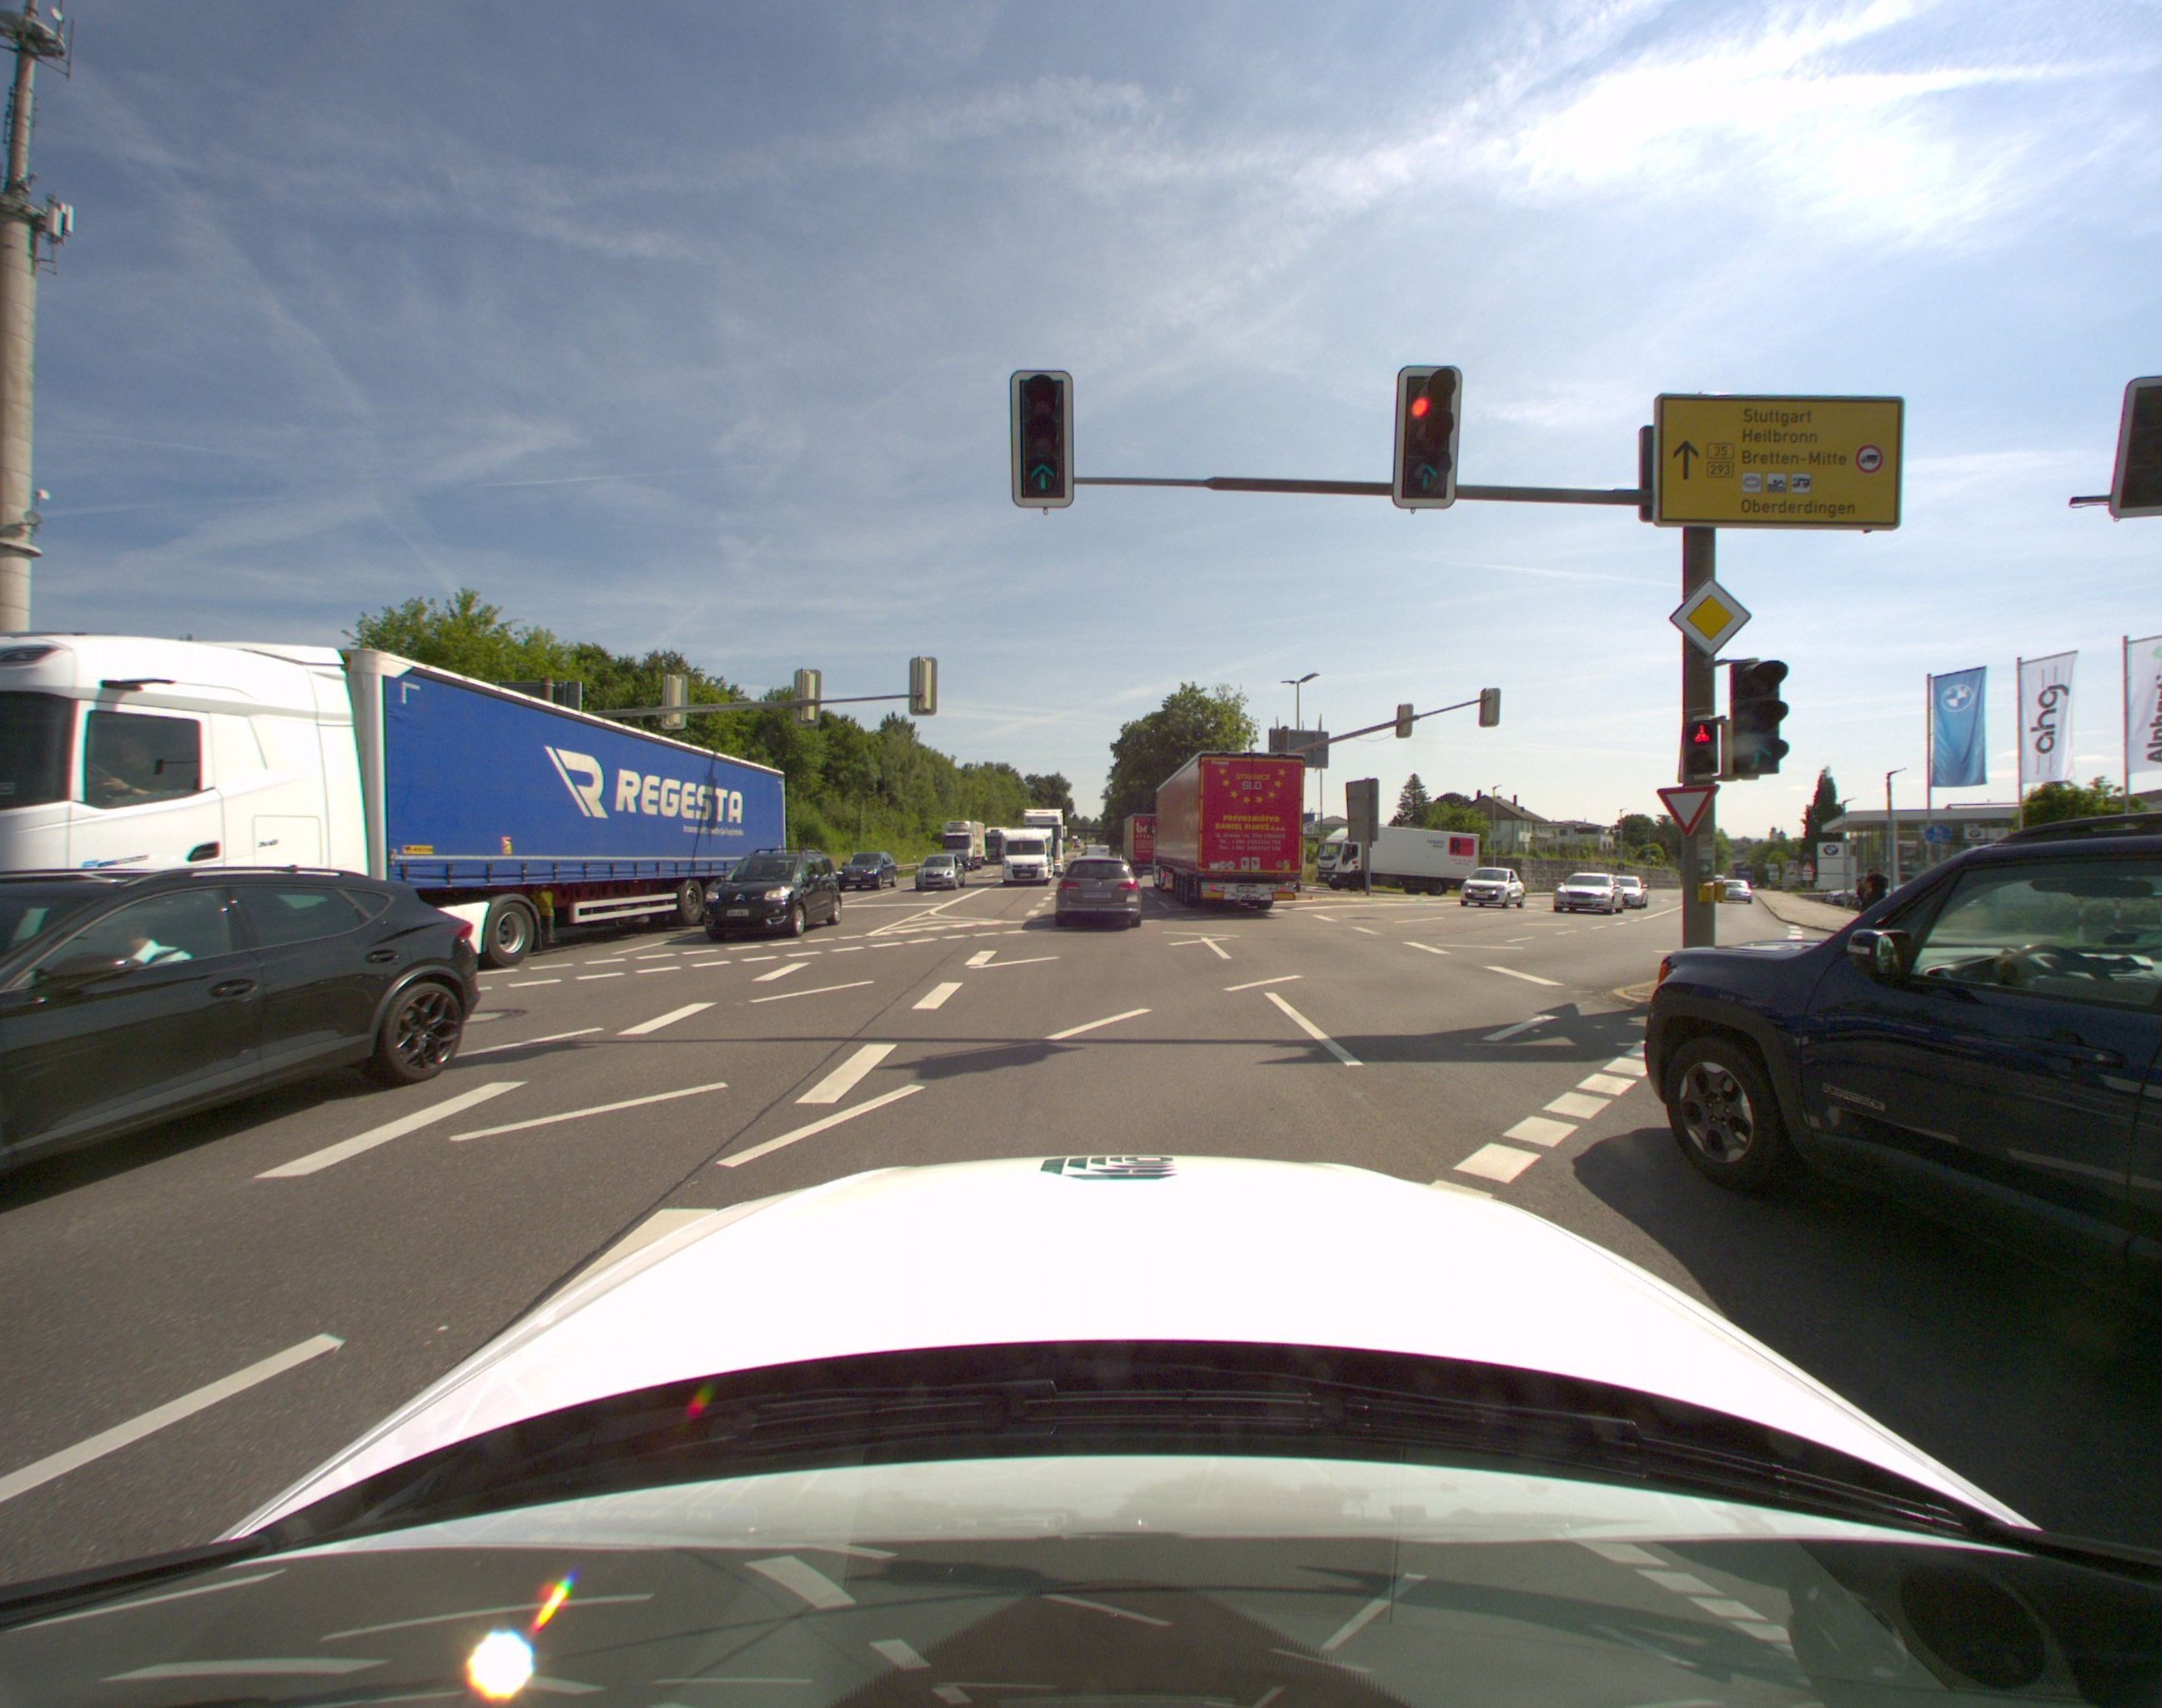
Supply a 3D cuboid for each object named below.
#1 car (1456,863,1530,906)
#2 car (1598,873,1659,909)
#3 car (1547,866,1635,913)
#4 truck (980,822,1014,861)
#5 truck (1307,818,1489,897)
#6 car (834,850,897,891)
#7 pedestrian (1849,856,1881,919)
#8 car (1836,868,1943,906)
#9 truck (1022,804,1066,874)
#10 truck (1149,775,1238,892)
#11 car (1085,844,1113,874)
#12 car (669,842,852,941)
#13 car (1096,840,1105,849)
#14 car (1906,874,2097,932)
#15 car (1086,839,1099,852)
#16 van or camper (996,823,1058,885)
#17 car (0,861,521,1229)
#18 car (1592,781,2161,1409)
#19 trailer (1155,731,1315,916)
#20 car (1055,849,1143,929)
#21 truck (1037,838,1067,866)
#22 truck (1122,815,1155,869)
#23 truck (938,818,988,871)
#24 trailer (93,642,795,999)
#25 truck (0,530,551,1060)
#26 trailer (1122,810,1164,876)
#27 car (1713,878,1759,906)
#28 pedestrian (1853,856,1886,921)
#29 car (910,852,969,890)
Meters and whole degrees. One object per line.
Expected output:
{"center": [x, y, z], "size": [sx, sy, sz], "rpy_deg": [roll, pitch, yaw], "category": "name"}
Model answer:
{"center": [15.955, 1.189, 31.431], "size": [1.689, 1.504, 3.778], "rpy_deg": [1, -1, 40], "category": "car"}
{"center": [25.224, 1.663, 37.448], "size": [1.894, 1.498, 4.024], "rpy_deg": [1, -1, 40], "category": "car"}
{"center": [18.736, 1.290, 29.815], "size": [1.975, 1.505, 5.030], "rpy_deg": [2, -1, 41], "category": "car"}
{"center": [-9.385, -1.310, 91.983], "size": [2.821, 4.116, 9.679], "rpy_deg": [-1, 0, -1], "category": "truck"}
{"center": [17.723, 0.243, 45.508], "size": [9.691, 3.628, 2.752], "rpy_deg": [4, -1, -17], "category": "truck"}
{"center": [-9.509, 0.685, 36.316], "size": [1.990, 1.676, 4.299], "rpy_deg": [-1, 0, -5], "category": "car"}
{"center": [25.521, 1.063, 26.517], "size": [0.656, 2.013, 0.884], "rpy_deg": [0, 0, 38], "category": "pedestrian"}
{"center": [46.531, 1.885, 46.981], "size": [4.028, 2.035, 2.082], "rpy_deg": [-1, 0, 34], "category": "car"}
{"center": [-2.290, -0.911, 51.628], "size": [2.530, 4.087, 6.263], "rpy_deg": [-1, 0, -1], "category": "truck"}
{"center": [4.401, -0.767, 33.009], "size": [2.860, 4.281, 5.840], "rpy_deg": [1, 0, 1], "category": "truck"}
{"center": [1.186, 0.333, 54.785], "size": [1.765, 1.936, 3.976], "rpy_deg": [-1, 0, -1], "category": "car"}
{"center": [-6.238, 0.658, 16.407], "size": [1.986, 1.726, 4.001], "rpy_deg": [-1, 0, 1], "category": "car"}
{"center": [4.394, -2.285, 187.585], "size": [1.987, 2.013, 3.999], "rpy_deg": [-1, 0, 0], "category": "car"}
{"center": [30.840, 1.586, 27.481], "size": [3.948, 1.723, 2.013], "rpy_deg": [-1, 0, 38], "category": "car"}
{"center": [1.850, -1.334, 133.164], "size": [1.987, 2.013, 3.999], "rpy_deg": [-1, 0, 0], "category": "car"}
{"center": [-2.385, -0.027, 38.223], "size": [2.322, 2.600, 6.979], "rpy_deg": [-1, 0, 1], "category": "van or camper"}
{"center": [-5.492, 0.826, 4.312], "size": [1.988, 1.485, 4.452], "rpy_deg": [-1, 0, -1], "category": "car"}
{"center": [3.720, 0.618, 2.536], "size": [1.764, 1.654, 4.000], "rpy_deg": [-1, 0, 0], "category": "car"}
{"center": [4.264, -0.753, 26.004], "size": [2.829, 4.365, 13.170], "rpy_deg": [1, 0, 1], "category": "trailer"}
{"center": [0.344, 0.672, 17.790], "size": [1.686, 1.513, 3.999], "rpy_deg": [-1, 0, 0], "category": "car"}
{"center": [-2.446, -0.150, 69.814], "size": [2.219, 2.267, 6.500], "rpy_deg": [-1, 0, 0], "category": "truck"}
{"center": [4.586, -0.926, 65.592], "size": [2.397, 4.127, 5.523], "rpy_deg": [-1, 0, 2], "category": "truck"}
{"center": [-9.652, -0.765, 67.504], "size": [2.720, 3.999, 9.617], "rpy_deg": [-1, 0, 0], "category": "truck"}
{"center": [-9.832, -0.422, 16.476], "size": [3.083, 4.079, 14.124], "rpy_deg": [-1, 0, 0], "category": "trailer"}
{"center": [-9.811, -0.441, 9.404], "size": [3.178, 4.079, 6.344], "rpy_deg": [-1, 0, -1], "category": "truck"}
{"center": [4.352, -0.756, 59.165], "size": [2.386, 4.243, 13.083], "rpy_deg": [-1, 0, 2], "category": "trailer"}
{"center": [42.217, 2.433, 52.575], "size": [1.974, 1.575, 4.025], "rpy_deg": [2, 0, 34], "category": "car"}
{"center": [24.928, 1.076, 25.759], "size": [0.656, 2.013, 0.884], "rpy_deg": [0, 0, 38], "category": "pedestrian"}
{"center": [-5.968, 0.666, 34.765], "size": [1.719, 1.502, 4.001], "rpy_deg": [-1, 0, 1], "category": "car"}
